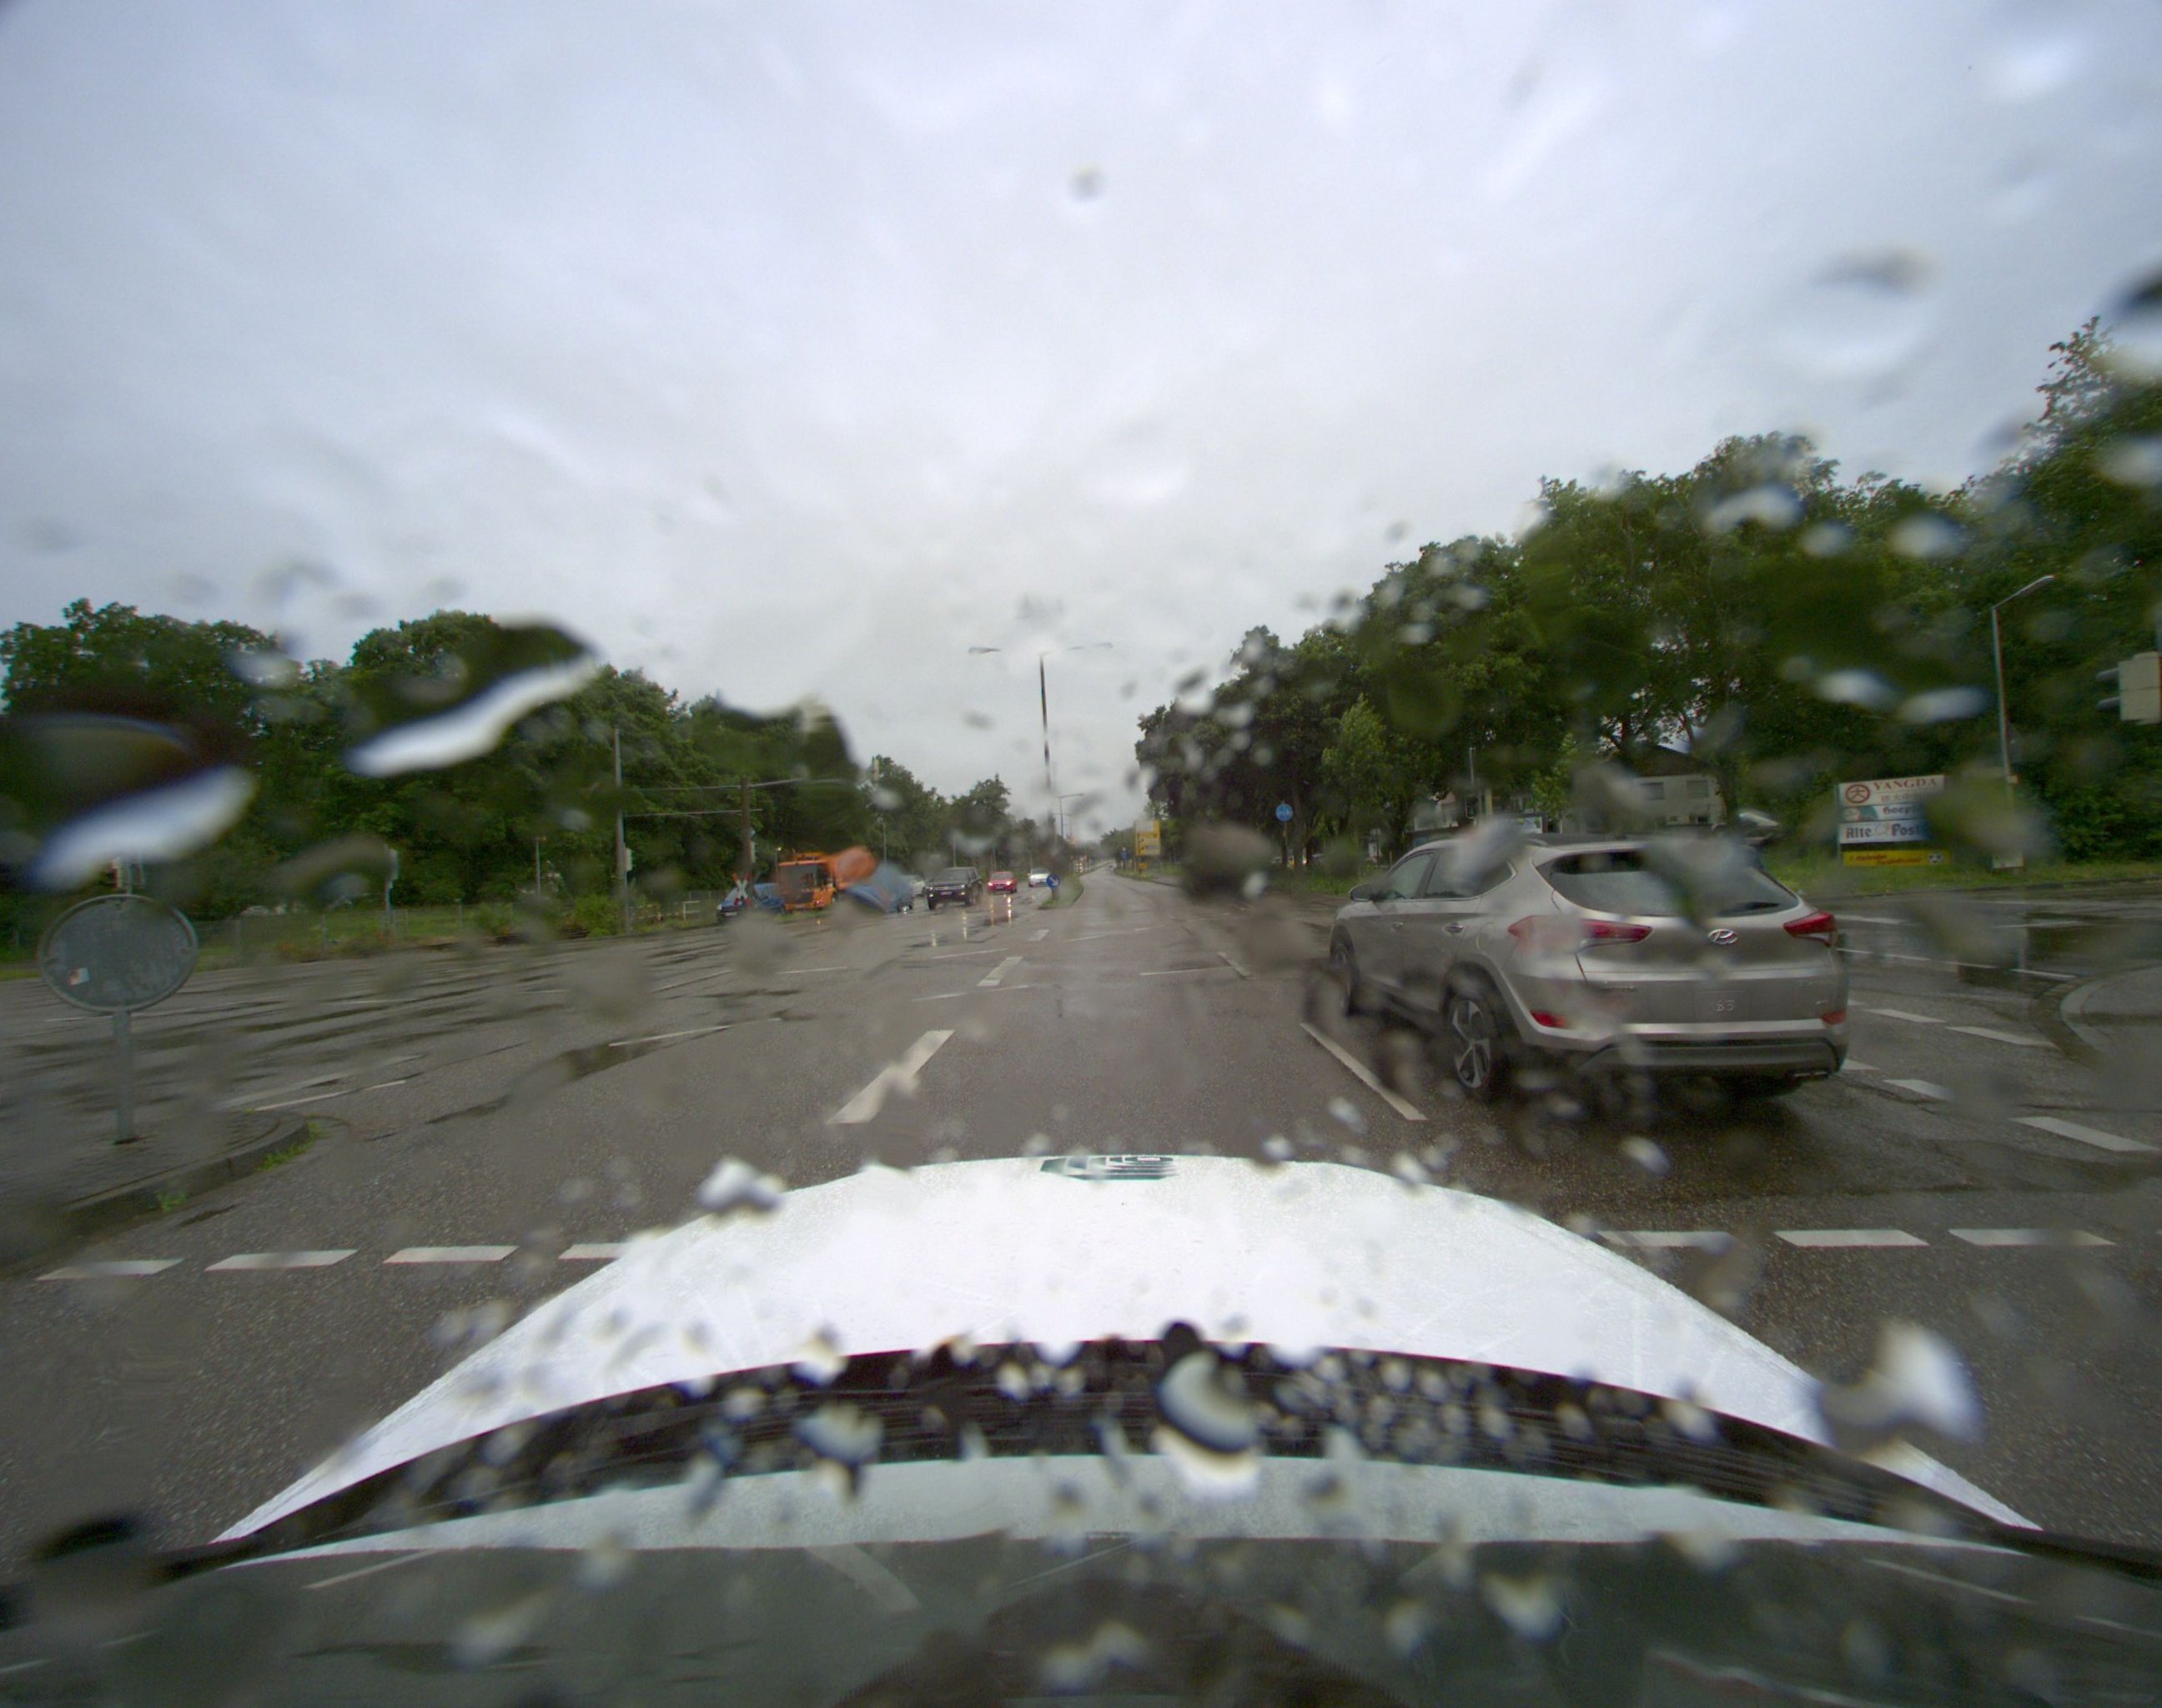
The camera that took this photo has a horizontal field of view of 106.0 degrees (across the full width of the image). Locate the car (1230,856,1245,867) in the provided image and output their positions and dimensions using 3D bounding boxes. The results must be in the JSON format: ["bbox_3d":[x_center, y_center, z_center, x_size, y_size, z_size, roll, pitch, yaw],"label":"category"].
[{"bbox_3d":[24.519,1.165,127.753,1.737,1.445,4.126,-3,1,4],"label":"car"}]

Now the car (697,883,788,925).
[{"bbox_3d":[-15.169,2.207,36.783,1.985,1.709,4.529,-1,-1,3],"label":"car"}]

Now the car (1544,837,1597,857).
[{"bbox_3d":[36.928,-0.514,61.545,1.578,1.385,3.998,-1,-1,-1],"label":"car"}]

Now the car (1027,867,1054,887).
[{"bbox_3d":[-3.549,2.031,72.700,1.954,1.617,4.698,-4,-1,1],"label":"car"}]

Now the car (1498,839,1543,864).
[{"bbox_3d":[27.350,-0.122,50.650,1.648,1.449,3.775,-2,-2,40],"label":"car"}]

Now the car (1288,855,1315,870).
[{"bbox_3d":[23.015,0.922,85.158,1.632,1.486,4.071,-1,-1,0],"label":"car"}]

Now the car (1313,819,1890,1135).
[{"bbox_3d":[3.249,0.642,6.264,1.877,1.610,4.197,0,0,2],"label":"car"}]

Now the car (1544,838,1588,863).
[{"bbox_3d":[29.311,-0.194,49.197,1.648,1.449,3.775,-2,-2,40],"label":"car"}]

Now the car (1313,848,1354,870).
[{"bbox_3d":[22.204,0.496,71.800,1.987,1.717,4.877,-3,-1,0],"label":"car"}]

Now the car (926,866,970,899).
[{"bbox_3d":[-8.838,1.859,54.428,1.922,2.018,4.744,-3,-1,2],"label":"car"}]

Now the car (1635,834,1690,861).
[{"bbox_3d":[32.487,-0.345,45.469,3.772,1.449,1.584,0,-2,-41],"label":"car"}]

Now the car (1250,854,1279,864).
[{"bbox_3d":[32.086,0.816,142.784,4.561,1.645,1.997,-1,-2,-4],"label":"car"}]

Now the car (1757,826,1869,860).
[{"bbox_3d":[34.523,-0.493,38.482,3.694,1.449,1.671,-1,-2,3],"label":"car"}]

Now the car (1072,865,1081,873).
[{"bbox_3d":[-1.089,3.663,196.267,1.738,1.650,4.136,-5,-1,1],"label":"car"}]

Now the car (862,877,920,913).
[{"bbox_3d":[-8.737,1.859,37.698,1.636,1.427,3.998,-5,-1,0],"label":"car"}]

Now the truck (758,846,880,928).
[{"bbox_3d":[-14.818,1.801,47.239,3.372,4.168,10.410,-1,-1,2],"label":"truck"}]

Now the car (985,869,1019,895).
[{"bbox_3d":[-5.421,1.916,56.351,1.795,1.569,4.429,-4,-2,1],"label":"car"}]

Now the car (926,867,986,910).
[{"bbox_3d":[-5.845,1.557,38.592,1.799,1.773,5.090,-4,-1,1],"label":"car"}]

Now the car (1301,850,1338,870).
[{"bbox_3d":[22.628,0.608,77.413,1.987,1.717,4.640,-3,-1,0],"label":"car"}]

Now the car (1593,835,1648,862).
[{"bbox_3d":[31.047,-0.284,46.861,3.772,1.449,1.650,0,-2,-41],"label":"car"}]

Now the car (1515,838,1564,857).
[{"bbox_3d":[34.549,-0.460,61.466,1.567,1.316,3.700,-1,-1,-1],"label":"car"}]

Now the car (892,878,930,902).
[{"bbox_3d":[-13.505,2.839,64.837,1.987,1.828,4.770,-1,-1,0],"label":"car"}]
